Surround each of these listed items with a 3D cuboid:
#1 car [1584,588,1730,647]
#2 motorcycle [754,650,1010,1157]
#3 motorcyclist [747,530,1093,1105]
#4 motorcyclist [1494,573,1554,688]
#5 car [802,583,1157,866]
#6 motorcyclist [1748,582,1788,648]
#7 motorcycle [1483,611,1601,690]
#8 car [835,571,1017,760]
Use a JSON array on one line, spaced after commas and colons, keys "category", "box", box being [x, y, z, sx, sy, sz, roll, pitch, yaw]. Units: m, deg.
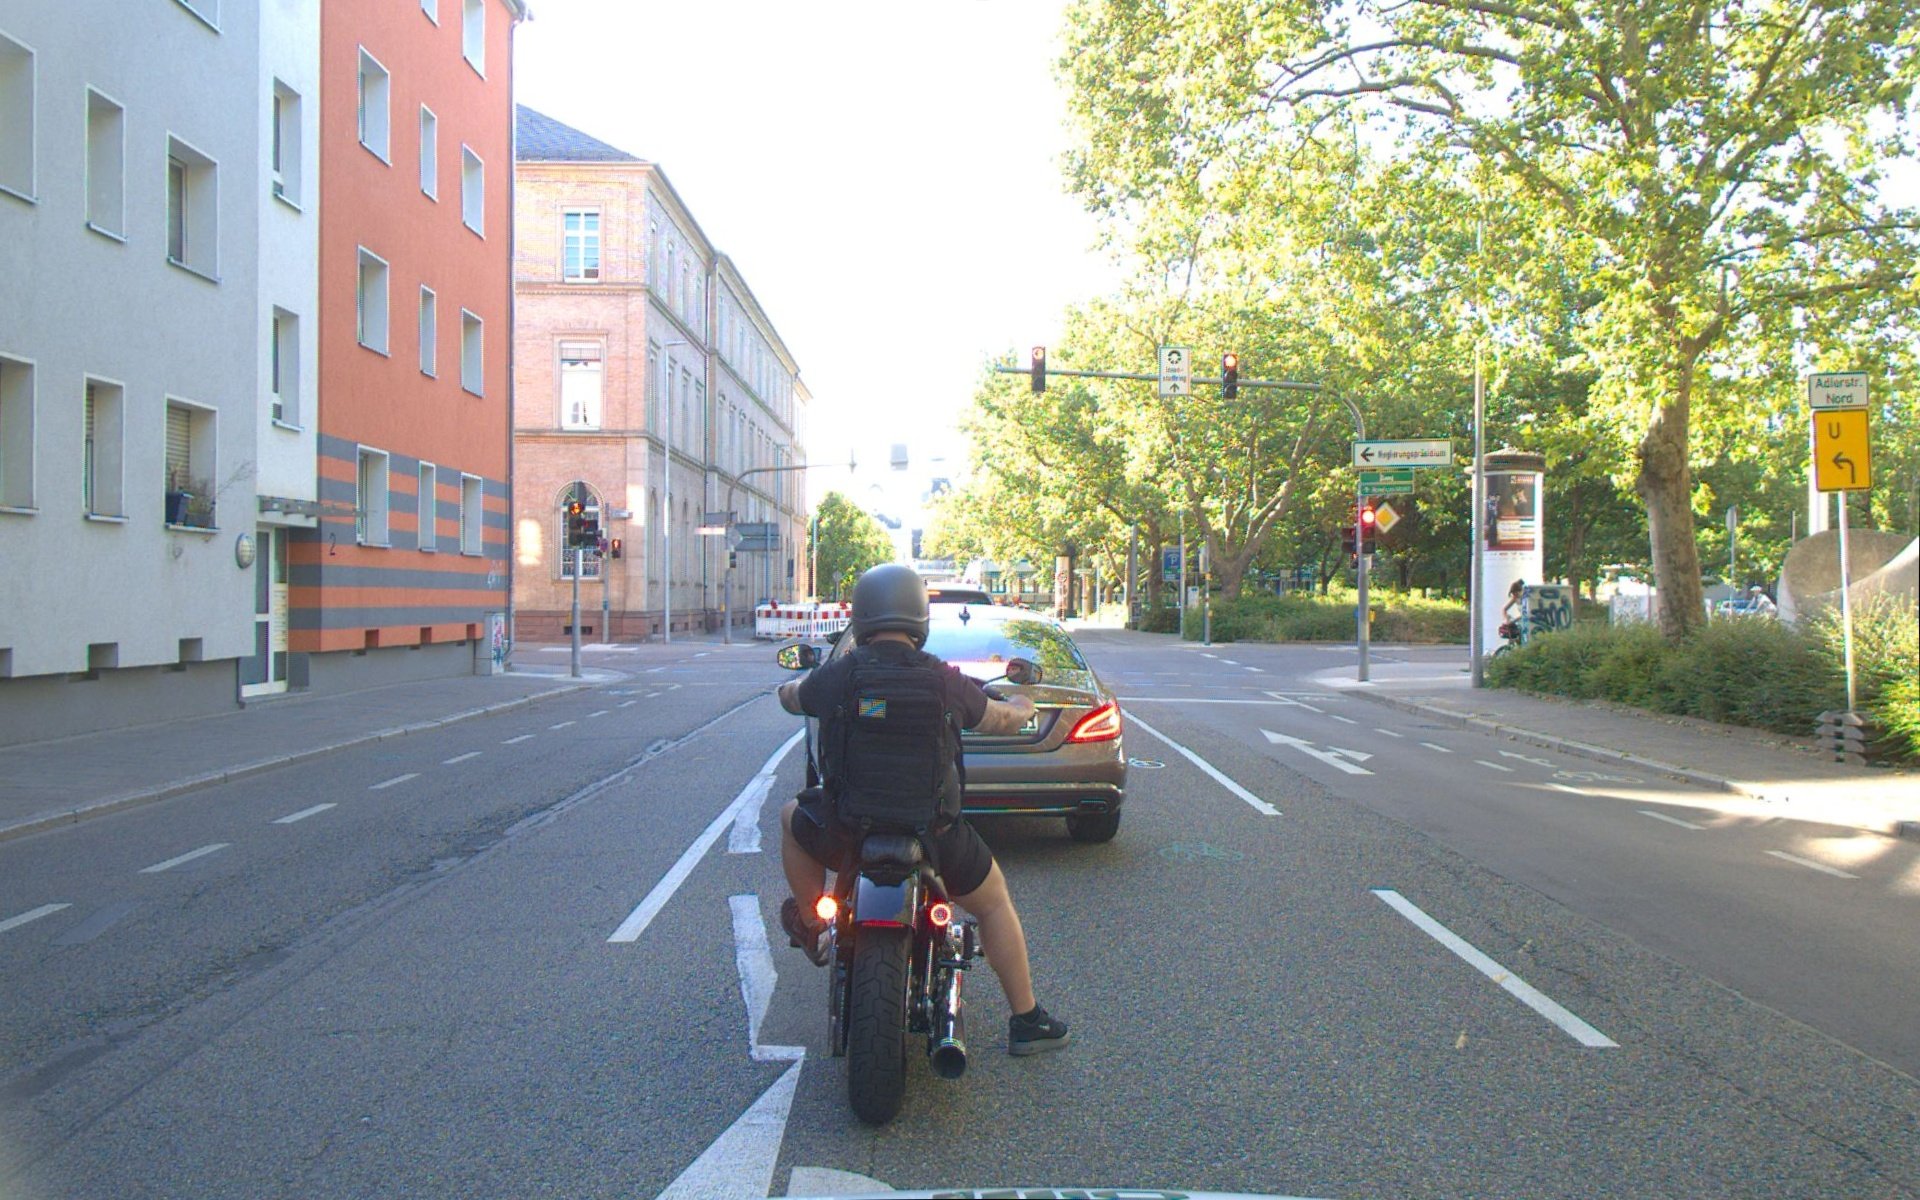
[{"category": "car", "box": [21.994, 0.540, 52.290, 3.907, 1.803, 1.737, 0, 0, -3]}, {"category": "motorcycle", "box": [-0.217, 0.823, 5.351, 0.646, 1.261, 2.057, 1, 0, -1]}, {"category": "motorcyclist", "box": [-0.122, 0.629, 5.323, 0.970, 1.639, 1.120, 1, 0, -1]}, {"category": "motorcyclist", "box": [9.486, 0.506, 27.831, 0.805, 1.896, 0.672, 1, -1, 4]}, {"category": "car", "box": [-0.084, 0.684, 11.123, 1.790, 1.512, 4.326, 1, 0, -7]}, {"category": "motorcyclist", "box": [23.550, 0.442, 48.212, 0.962, 1.909, 0.376, 0, -1, 3]}, {"category": "motorcycle", "box": [9.778, 0.838, 27.820, 1.743, 1.265, 0.723, 1, 0, 4]}, {"category": "car", "box": [-0.329, 0.600, 16.966, 1.618, 1.681, 3.999, 1, 0, -1]}]
